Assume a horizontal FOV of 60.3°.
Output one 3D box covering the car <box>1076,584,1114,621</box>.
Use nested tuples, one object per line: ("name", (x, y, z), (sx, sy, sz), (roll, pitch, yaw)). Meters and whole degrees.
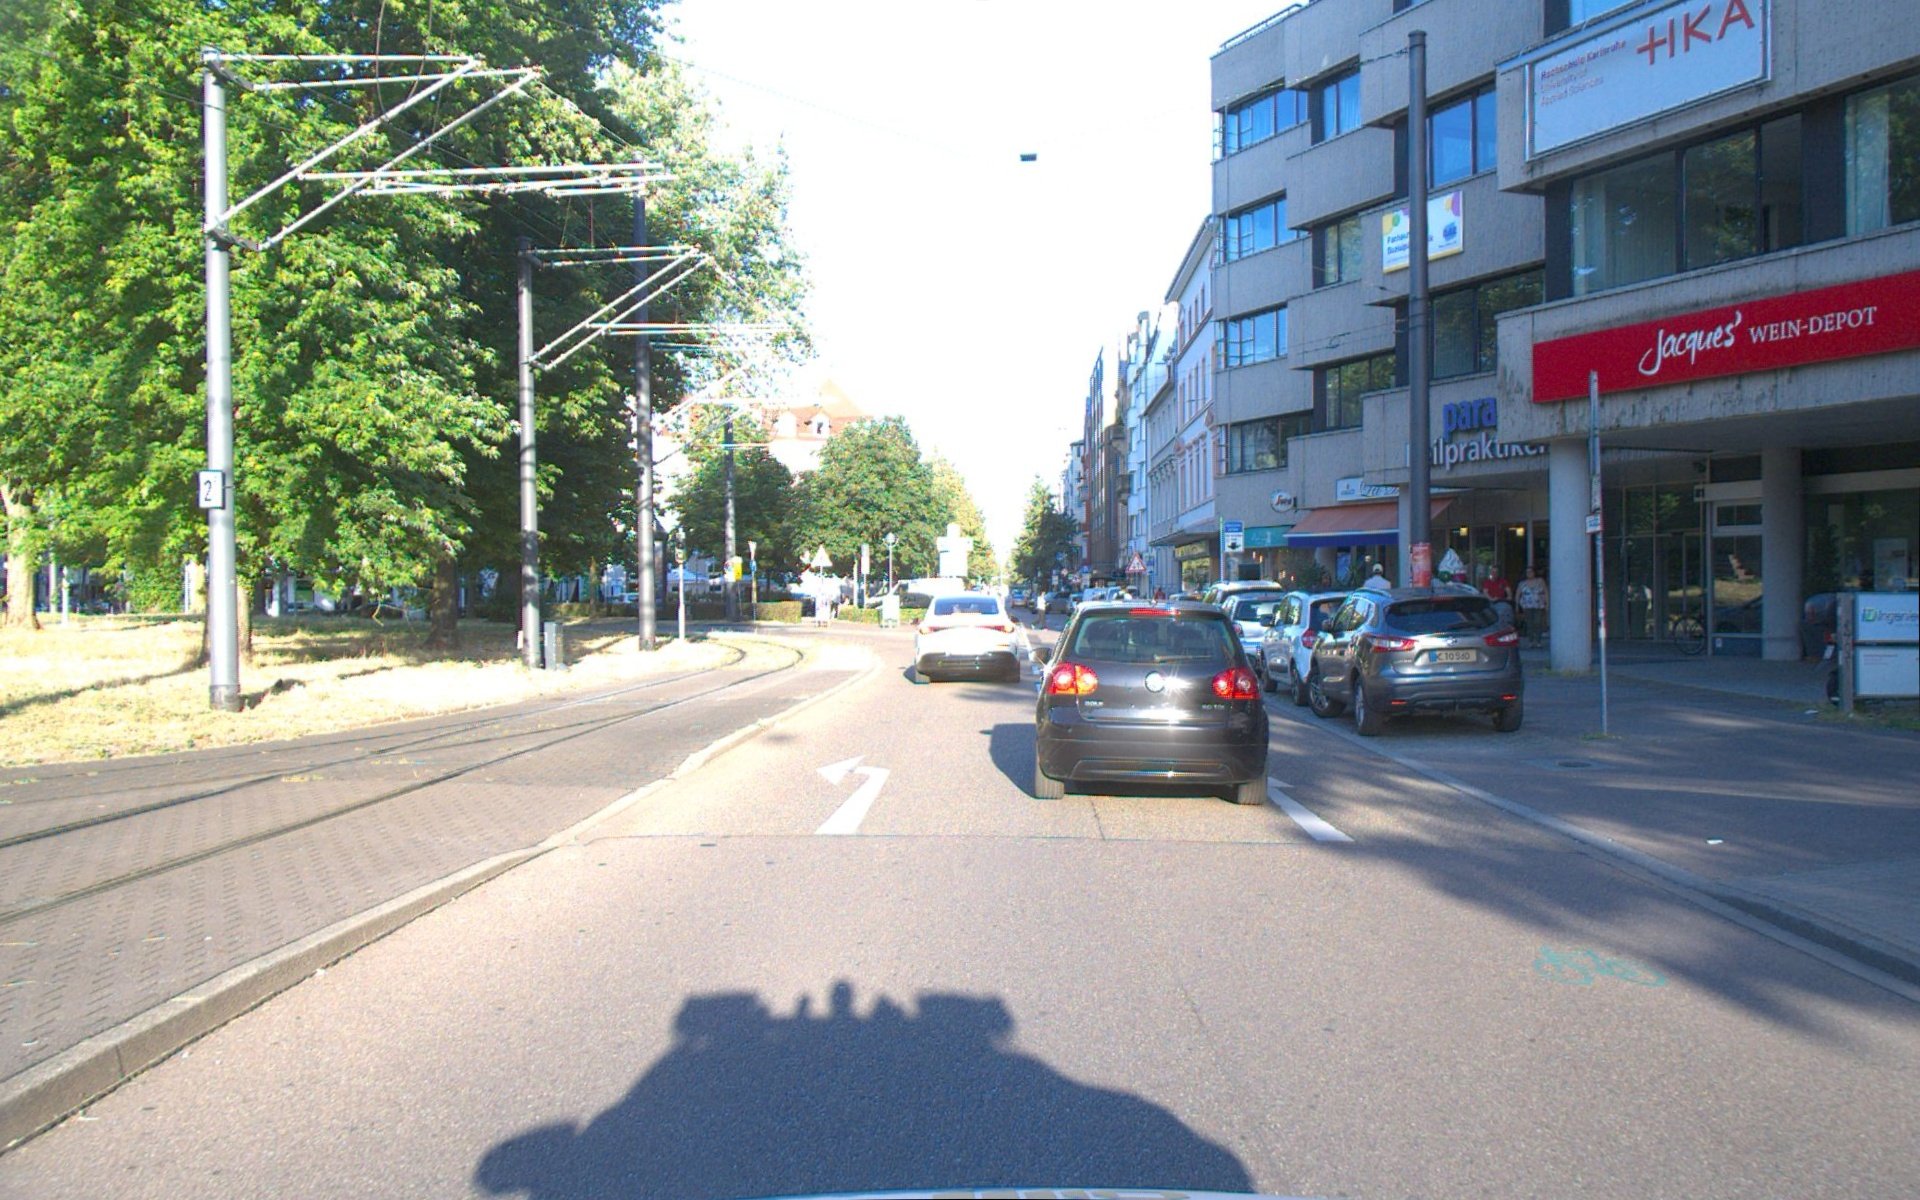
("car", (7.314, 0.124, 89.831), (1.885, 1.873, 4.019), (-2, 0, 2))

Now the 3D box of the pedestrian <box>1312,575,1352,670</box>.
("pedestrian", (7.245, 0.435, 32.214), (0.566, 1.790, 0.662), (-3, 0, 2))

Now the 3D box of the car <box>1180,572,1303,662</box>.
("car", (6.060, 0.346, 36.090), (1.829, 1.743, 4.505), (-3, 0, 0))

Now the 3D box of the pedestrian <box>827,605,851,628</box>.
("pedestrian", (-6.606, 0.900, 90.425), (1.083, 1.248, 0.853), (1, 0, -25))

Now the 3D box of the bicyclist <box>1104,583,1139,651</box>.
("bicyclist", (3.996, 0.412, 40.926), (0.761, 1.646, 1.025), (1, 0, 1))

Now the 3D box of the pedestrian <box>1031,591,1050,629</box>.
("pedestrian", (3.355, 0.411, 69.096), (0.721, 1.582, 0.632), (0, 0, -2))

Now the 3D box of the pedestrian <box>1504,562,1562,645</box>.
("pedestrian", (12.079, 0.070, 34.897), (0.968, 1.702, 0.642), (-1, 0, 2))

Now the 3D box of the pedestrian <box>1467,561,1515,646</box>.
("pedestrian", (11.240, 0.061, 35.065), (0.682, 1.757, 1.033), (-1, 0, 3))

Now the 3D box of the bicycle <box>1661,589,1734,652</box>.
("bicycle", (13.744, 0.370, 30.812), (1.741, 1.091, 0.477), (-3, 1, -39))

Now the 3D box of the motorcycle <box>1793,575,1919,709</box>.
("motorcycle", (10.019, 0.433, 17.919), (1.751, 1.354, 0.582), (-2, 0, -11))

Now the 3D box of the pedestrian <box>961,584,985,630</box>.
("pedestrian", (0.488, 0.269, 64.164), (0.843, 1.736, 0.940), (0, 0, -5))

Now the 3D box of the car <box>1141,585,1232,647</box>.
("car", (5.930, 0.405, 43.687), (1.629, 1.466, 3.820), (-3, 0, -3))

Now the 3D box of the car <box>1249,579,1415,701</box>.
("car", (5.370, 0.538, 24.289), (1.574, 1.583, 3.610), (-3, 0, 0))

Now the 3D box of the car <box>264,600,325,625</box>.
("car", (-42.189, 0.771, 104.927), (3.561, 1.579, 1.652), (0, 0, -21))

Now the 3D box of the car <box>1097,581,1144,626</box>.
("car", (6.973, 0.148, 72.141), (1.699, 1.831, 3.917), (-2, 0, 1))

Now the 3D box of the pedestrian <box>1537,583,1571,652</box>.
("pedestrian", (14.649, 0.422, 40.797), (0.588, 1.678, 0.518), (1, 0, -22))

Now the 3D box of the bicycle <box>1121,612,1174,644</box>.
("bicycle", (6.832, 1.018, 60.250), (1.813, 1.063, 0.579), (-3, 1, 32))

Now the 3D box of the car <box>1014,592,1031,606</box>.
("car", (7.127, -0.083, 189.991), (1.867, 1.579, 4.001), (-1, 1, 1))

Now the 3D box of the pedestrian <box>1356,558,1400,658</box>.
("pedestrian", (8.107, 0.159, 32.097), (0.609, 1.890, 0.662), (-3, 0, 2))

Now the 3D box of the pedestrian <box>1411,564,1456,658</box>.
("pedestrian", (9.162, 0.202, 32.033), (0.609, 1.770, 0.662), (-3, 0, 2))

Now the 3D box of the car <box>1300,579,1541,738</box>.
("car", (5.285, 0.605, 19.546), (1.745, 1.583, 4.236), (-3, 0, 2))

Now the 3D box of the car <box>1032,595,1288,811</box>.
("car", (1.469, 0.703, 13.446), (1.711, 1.486, 4.104), (0, 0, 2))

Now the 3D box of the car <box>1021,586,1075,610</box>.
("car", (6.982, -0.155, 131.029), (3.916, 1.803, 1.994), (0, 0, -12))

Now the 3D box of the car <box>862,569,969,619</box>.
("car", (-2.393, -0.318, 89.926), (5.441, 2.640, 2.138), (0, 0, -25))

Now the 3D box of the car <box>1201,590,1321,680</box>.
("car", (5.458, 0.592, 30.412), (1.627, 1.466, 3.856), (-3, 0, 3))

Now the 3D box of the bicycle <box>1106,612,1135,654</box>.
("bicycle", (3.971, 0.809, 40.954), (0.567, 1.004, 1.936), (0, 0, 1))

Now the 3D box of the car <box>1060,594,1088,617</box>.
("car", (7.972, 0.373, 116.150), (1.716, 1.537, 3.545), (-2, 0, 0))

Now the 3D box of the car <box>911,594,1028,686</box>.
("car", (0.239, 0.645, 28.999), (1.826, 1.466, 4.199), (0, 0, 3))

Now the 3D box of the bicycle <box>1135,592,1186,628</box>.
("bicycle", (6.806, 0.328, 56.048), (1.574, 1.138, 0.610), (-2, 1, 35))

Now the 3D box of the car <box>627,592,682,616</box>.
("car", (-21.291, 0.273, 115.278), (3.561, 1.579, 1.652), (0, 0, -21))

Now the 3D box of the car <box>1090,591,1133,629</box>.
("car", (7.052, 0.454, 77.171), (1.699, 1.645, 3.917), (-2, 0, 1))
